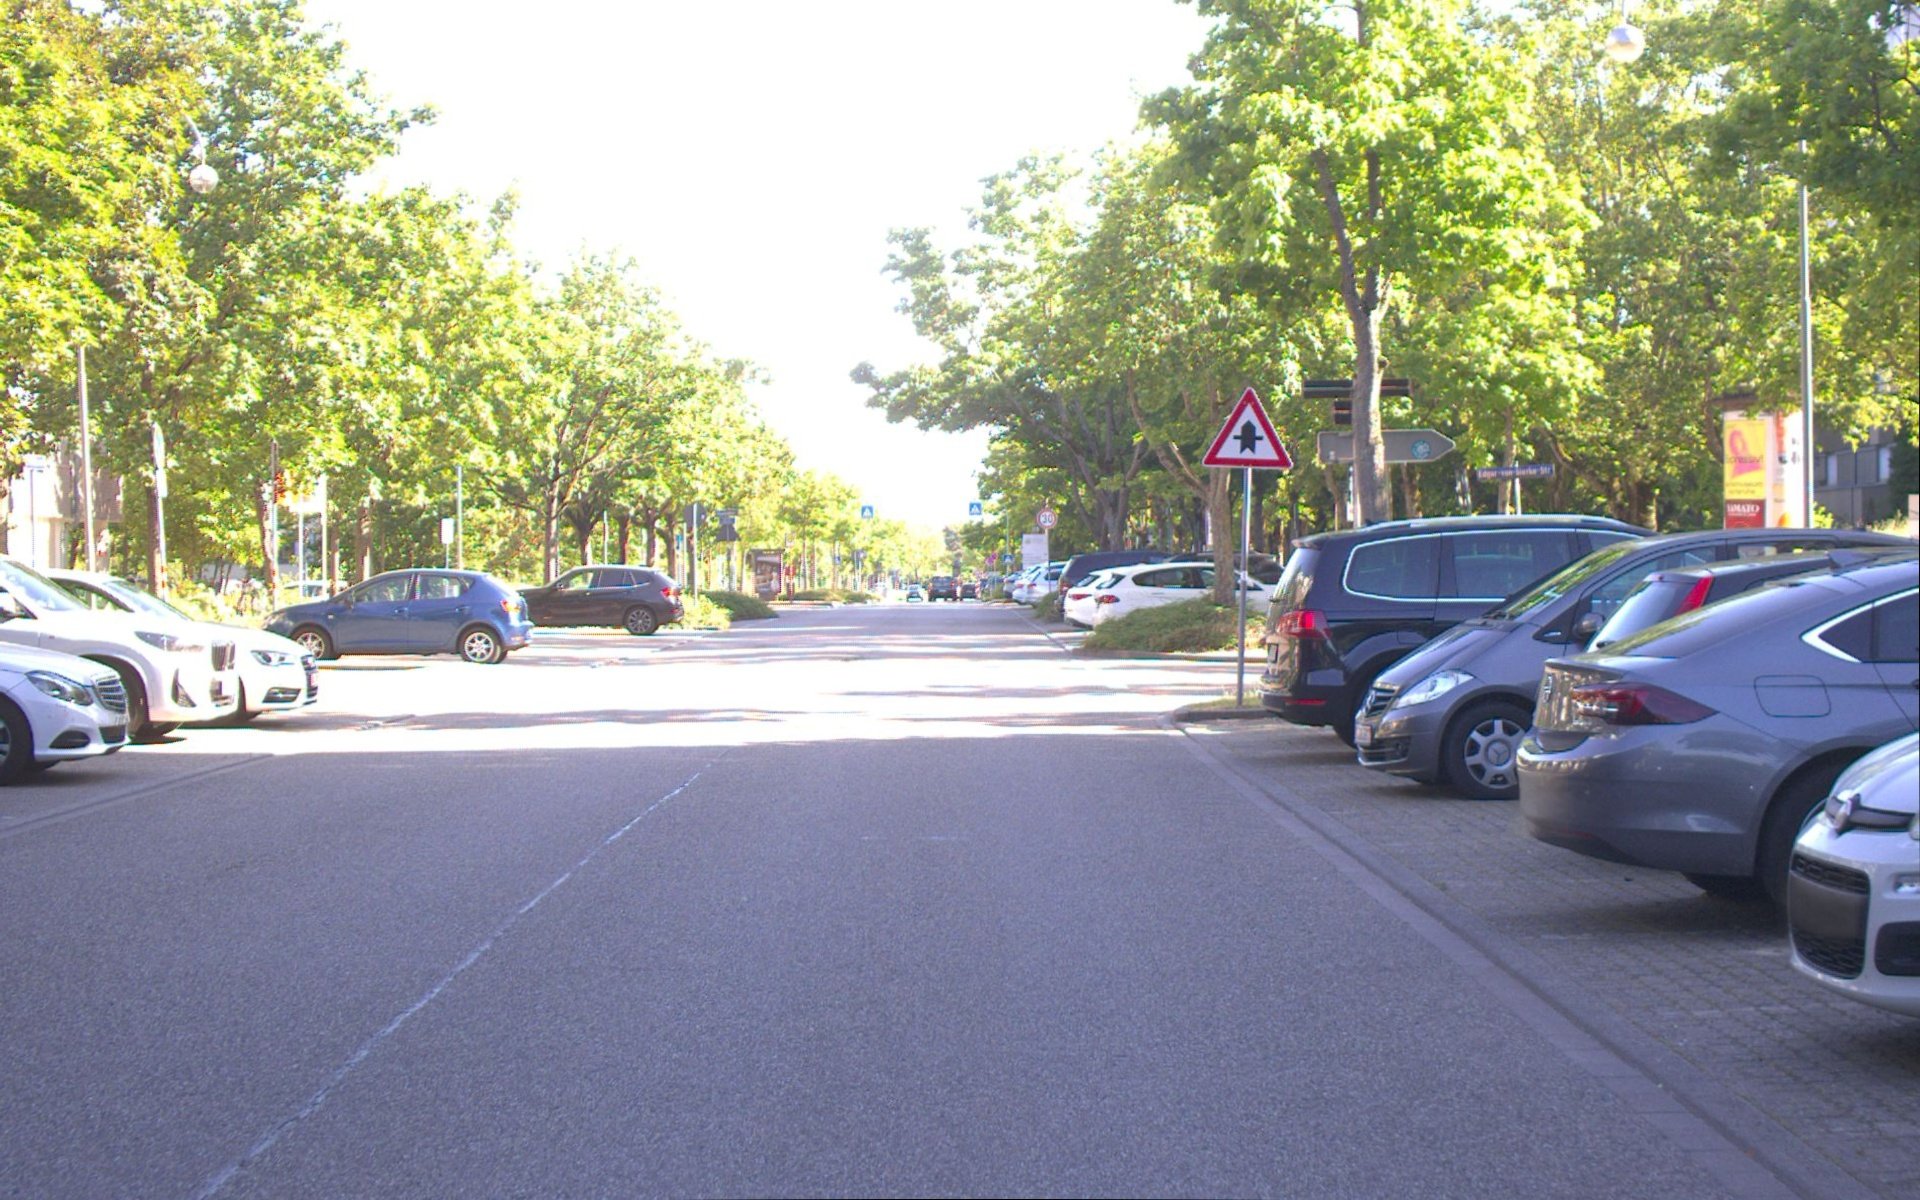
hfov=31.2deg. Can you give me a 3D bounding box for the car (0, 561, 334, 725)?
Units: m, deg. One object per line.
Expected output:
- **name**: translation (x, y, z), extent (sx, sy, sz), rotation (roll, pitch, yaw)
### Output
- **car**: translation (-7.978, 0.381, 32.091), extent (3.986, 1.476, 1.680), rotation (0, 1, -2)

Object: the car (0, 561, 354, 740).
- **car**: translation (-7.749, 0.446, 32.027), extent (3.892, 1.606, 1.858), rotation (0, 1, -1)

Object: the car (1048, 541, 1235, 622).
- **car**: translation (4.109, -0.430, 78.153), extent (3.986, 1.786, 2.000), rotation (0, 1, -5)

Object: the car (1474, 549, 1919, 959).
- **car**: translation (4.229, 0.532, 13.714), extent (4.043, 1.486, 1.550), rotation (-2, 0, -3)

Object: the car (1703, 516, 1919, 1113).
- **car**: translation (4.411, 0.538, 10.145), extent (4.043, 1.585, 1.550), rotation (-1, 1, -7)

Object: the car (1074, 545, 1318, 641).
- **car**: translation (4.085, -0.129, 59.965), extent (3.986, 1.619, 2.000), rotation (0, 1, -5)

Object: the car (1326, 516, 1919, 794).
- **car**: translation (4.455, 0.312, 21.576), extent (4.043, 1.576, 1.641), rotation (-2, 0, -3)

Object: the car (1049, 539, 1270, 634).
- **car**: translation (3.809, -0.272, 66.084), extent (3.986, 1.786, 2.000), rotation (0, 1, -5)

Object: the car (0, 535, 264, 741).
- **car**: translation (-8.106, 0.317, 29.073), extent (3.987, 1.648, 1.860), rotation (-1, 1, 3)

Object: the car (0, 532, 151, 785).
- **car**: translation (-7.862, 0.381, 24.115), extent (3.987, 1.714, 1.709), rotation (0, 1, -1)

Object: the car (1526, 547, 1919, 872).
- **car**: translation (4.932, 0.459, 16.687), extent (4.043, 1.449, 1.519), rotation (-2, 0, -3)

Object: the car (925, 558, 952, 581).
- **car**: translation (-1.551, -2.183, 245.578), extent (1.933, 1.592, 4.366), rotation (-1, 1, 0)

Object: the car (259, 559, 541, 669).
- **car**: translation (-8.284, 0.194, 51.121), extent (3.986, 1.527, 1.618), rotation (-1, 1, -4)

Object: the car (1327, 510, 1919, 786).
- **car**: translation (4.406, 0.274, 21.705), extent (3.892, 1.650, 1.858), rotation (0, 1, -4)

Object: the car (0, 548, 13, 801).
- **car**: translation (-8.033, 0.499, 20.948), extent (3.987, 1.581, 1.765), rotation (-1, -1, 3)

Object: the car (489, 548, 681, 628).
- **car**: translation (-8.272, -0.284, 76.037), extent (3.987, 1.678, 2.000), rotation (-1, 1, 0)

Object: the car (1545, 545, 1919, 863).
- **car**: translation (5.068, 0.430, 16.752), extent (4.043, 1.416, 1.737), rotation (-2, 0, -4)
